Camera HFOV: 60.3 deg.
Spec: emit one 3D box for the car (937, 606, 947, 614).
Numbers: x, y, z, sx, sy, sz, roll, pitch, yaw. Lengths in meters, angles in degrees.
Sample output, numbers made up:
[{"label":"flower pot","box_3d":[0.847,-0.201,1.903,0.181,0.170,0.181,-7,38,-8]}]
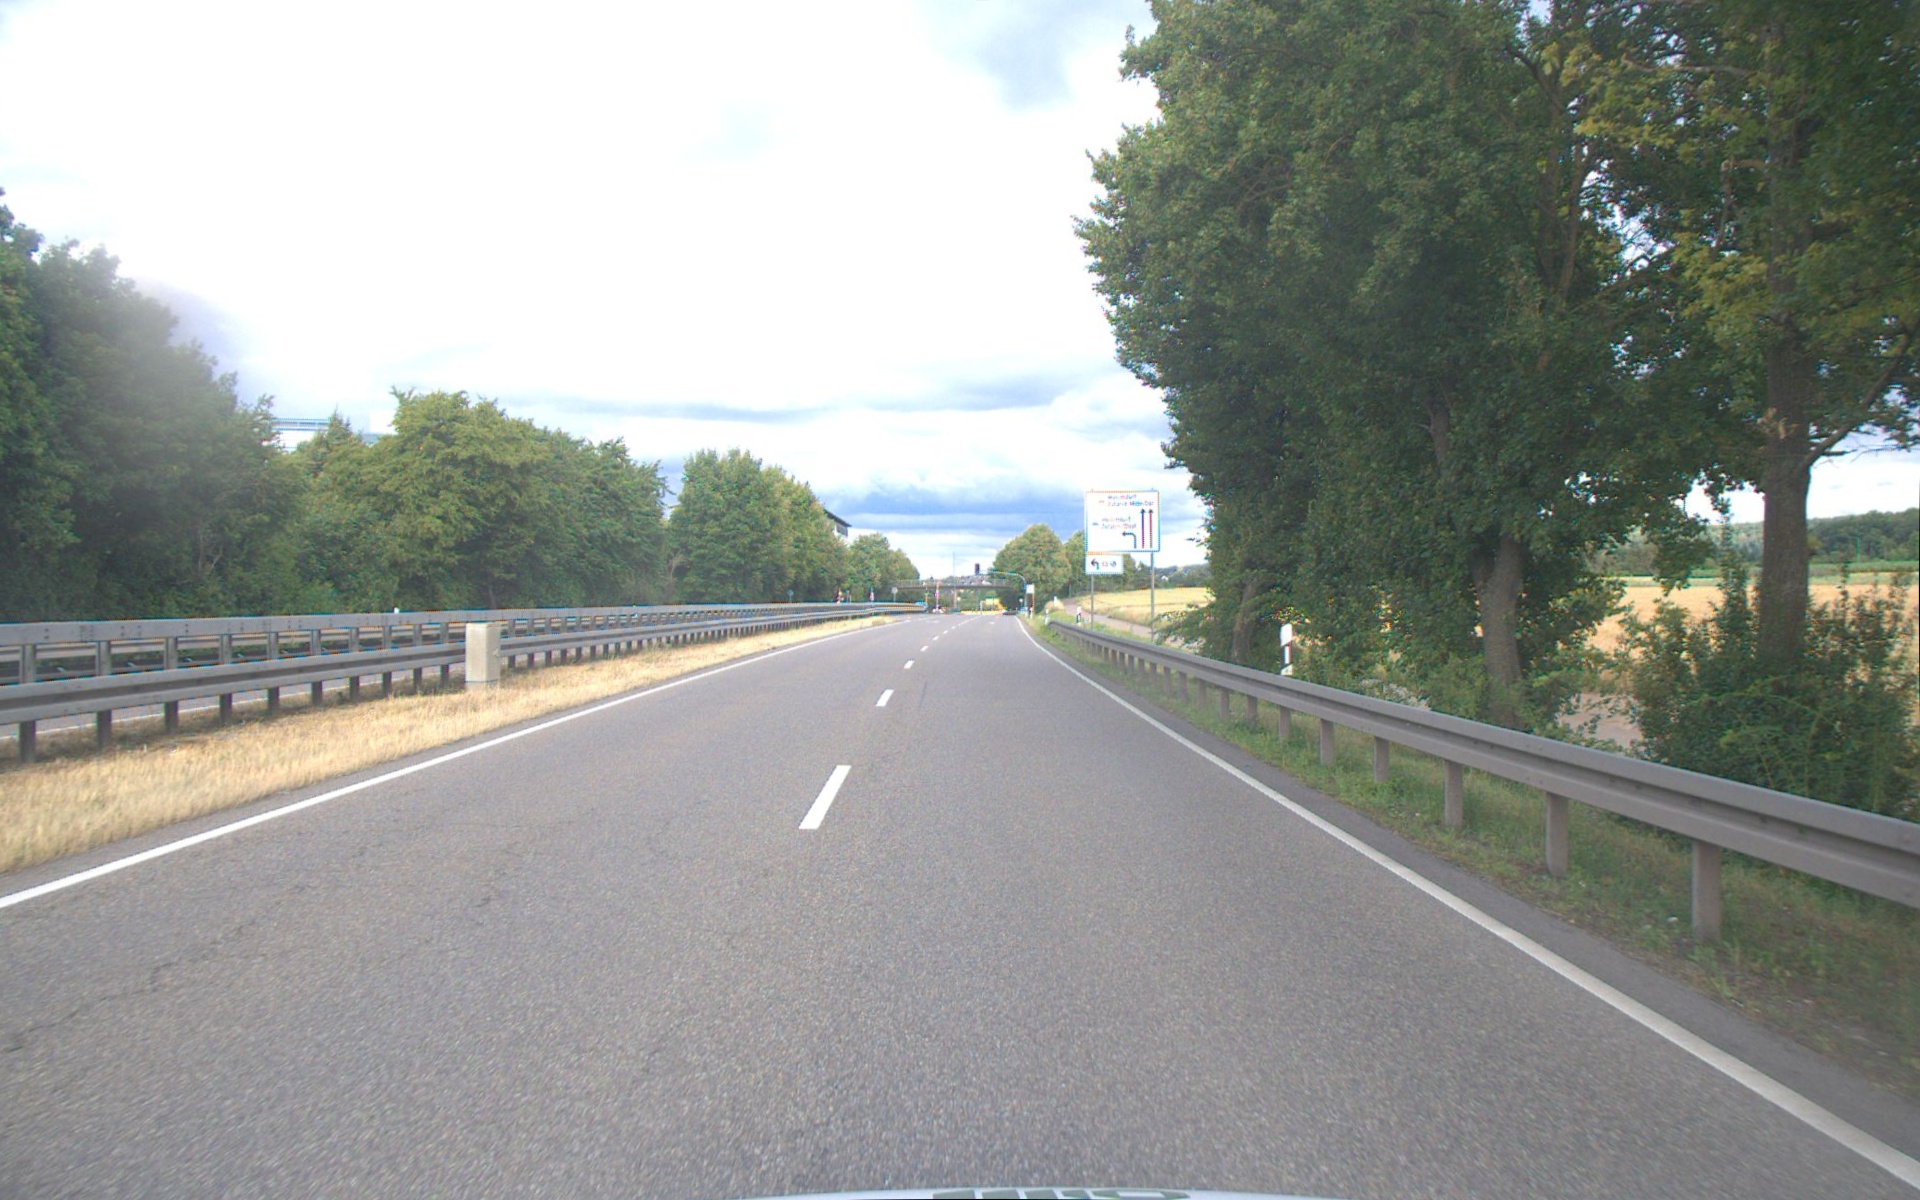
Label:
[{"label":"car","box_3d":[-2.719,1.508,253.524,1.329,1.111,2.922,0,0,2]}]
